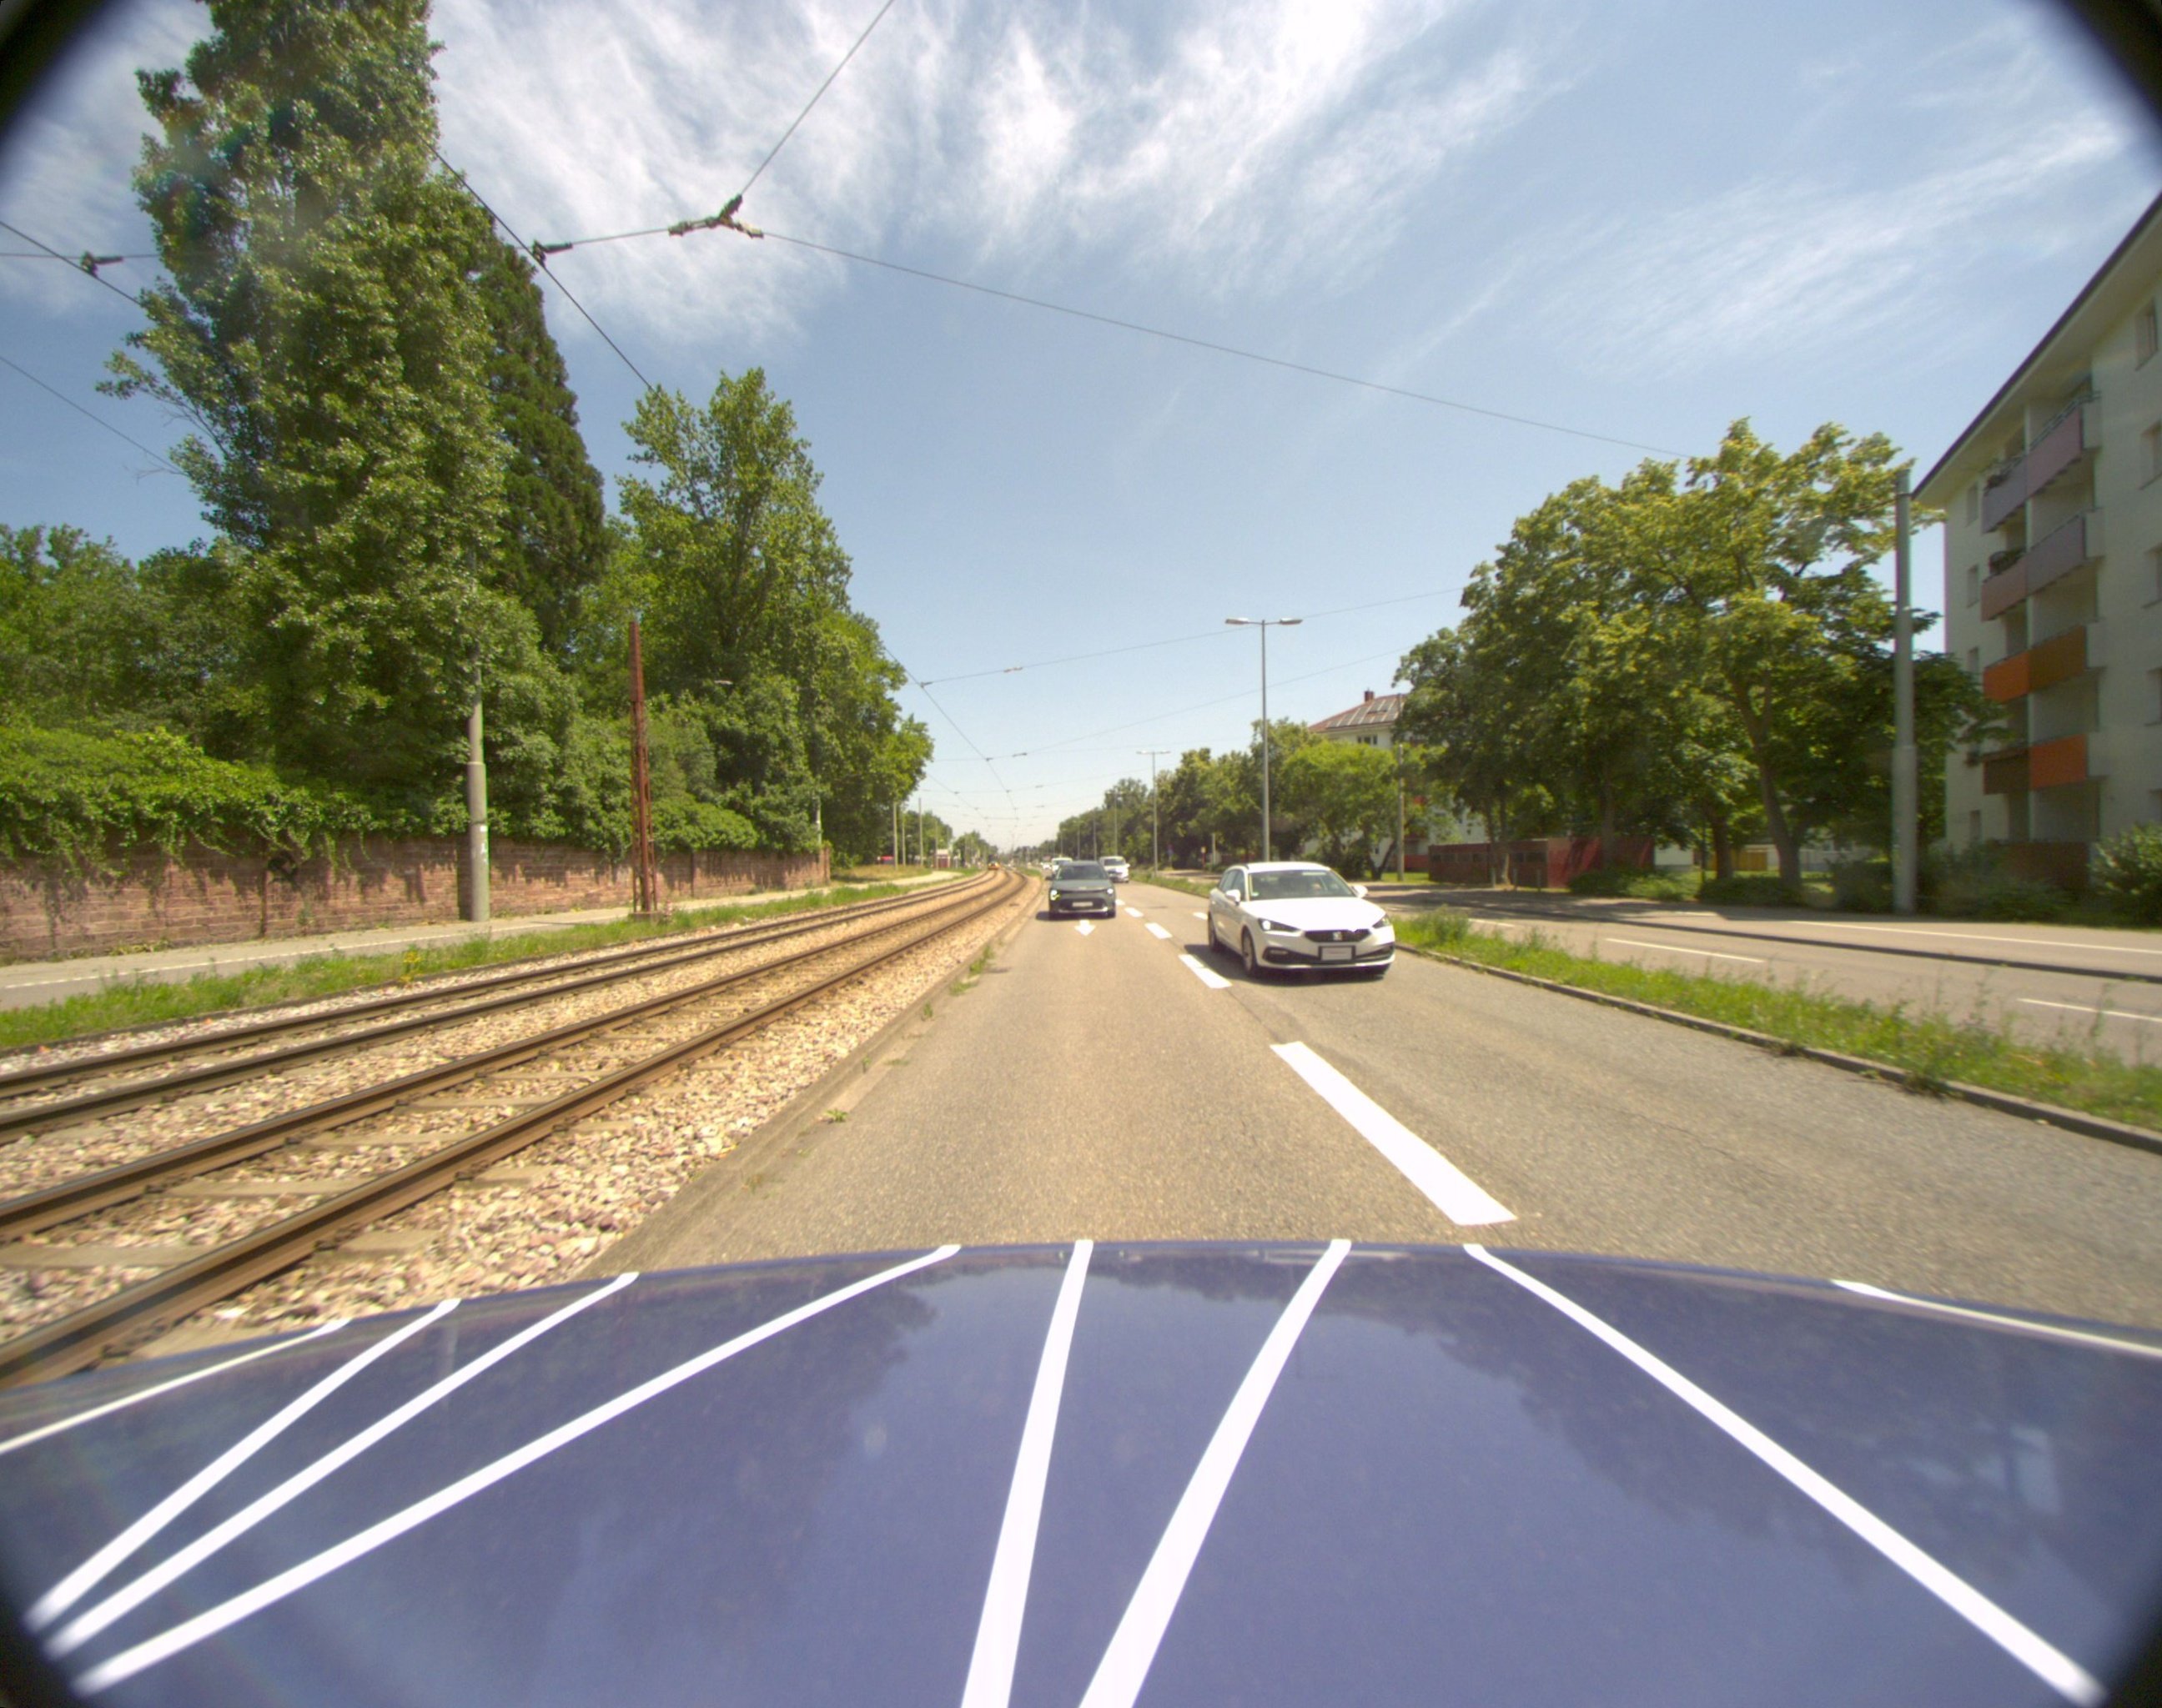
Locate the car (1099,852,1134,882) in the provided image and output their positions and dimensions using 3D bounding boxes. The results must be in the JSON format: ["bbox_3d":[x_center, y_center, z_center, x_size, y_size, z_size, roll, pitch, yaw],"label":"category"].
[{"bbox_3d":[2.458,0.868,53.569,1.999,2.002,3.999,-1,0,-4],"label":"car"}]

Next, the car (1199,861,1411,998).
[{"bbox_3d":[2.910,0.896,10.857,1.772,1.460,4.111,-3,0,0],"label":"car"}]

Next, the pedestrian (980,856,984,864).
[{"bbox_3d":[-21.797,1.363,167.763,0.637,1.749,0.815,-3,1,-19],"label":"pedestrian"}]

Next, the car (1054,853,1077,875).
[{"bbox_3d":[-1.486,0.905,69.715,1.922,2.002,3.999,-1,0,-4],"label":"car"}]

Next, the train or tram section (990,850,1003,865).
[{"bbox_3d":[-18.986,0.873,171.059,2.525,3.303,7.257,-1,0,-5],"label":"train or tram section"}]

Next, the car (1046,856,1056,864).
[{"bbox_3d":[-6.712,1.326,169.663,1.999,1.543,3.998,-1,0,-6],"label":"car"}]

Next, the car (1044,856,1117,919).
[{"bbox_3d":[-0.105,0.882,21.849,1.788,1.554,4.134,-3,0,-4],"label":"car"}]
